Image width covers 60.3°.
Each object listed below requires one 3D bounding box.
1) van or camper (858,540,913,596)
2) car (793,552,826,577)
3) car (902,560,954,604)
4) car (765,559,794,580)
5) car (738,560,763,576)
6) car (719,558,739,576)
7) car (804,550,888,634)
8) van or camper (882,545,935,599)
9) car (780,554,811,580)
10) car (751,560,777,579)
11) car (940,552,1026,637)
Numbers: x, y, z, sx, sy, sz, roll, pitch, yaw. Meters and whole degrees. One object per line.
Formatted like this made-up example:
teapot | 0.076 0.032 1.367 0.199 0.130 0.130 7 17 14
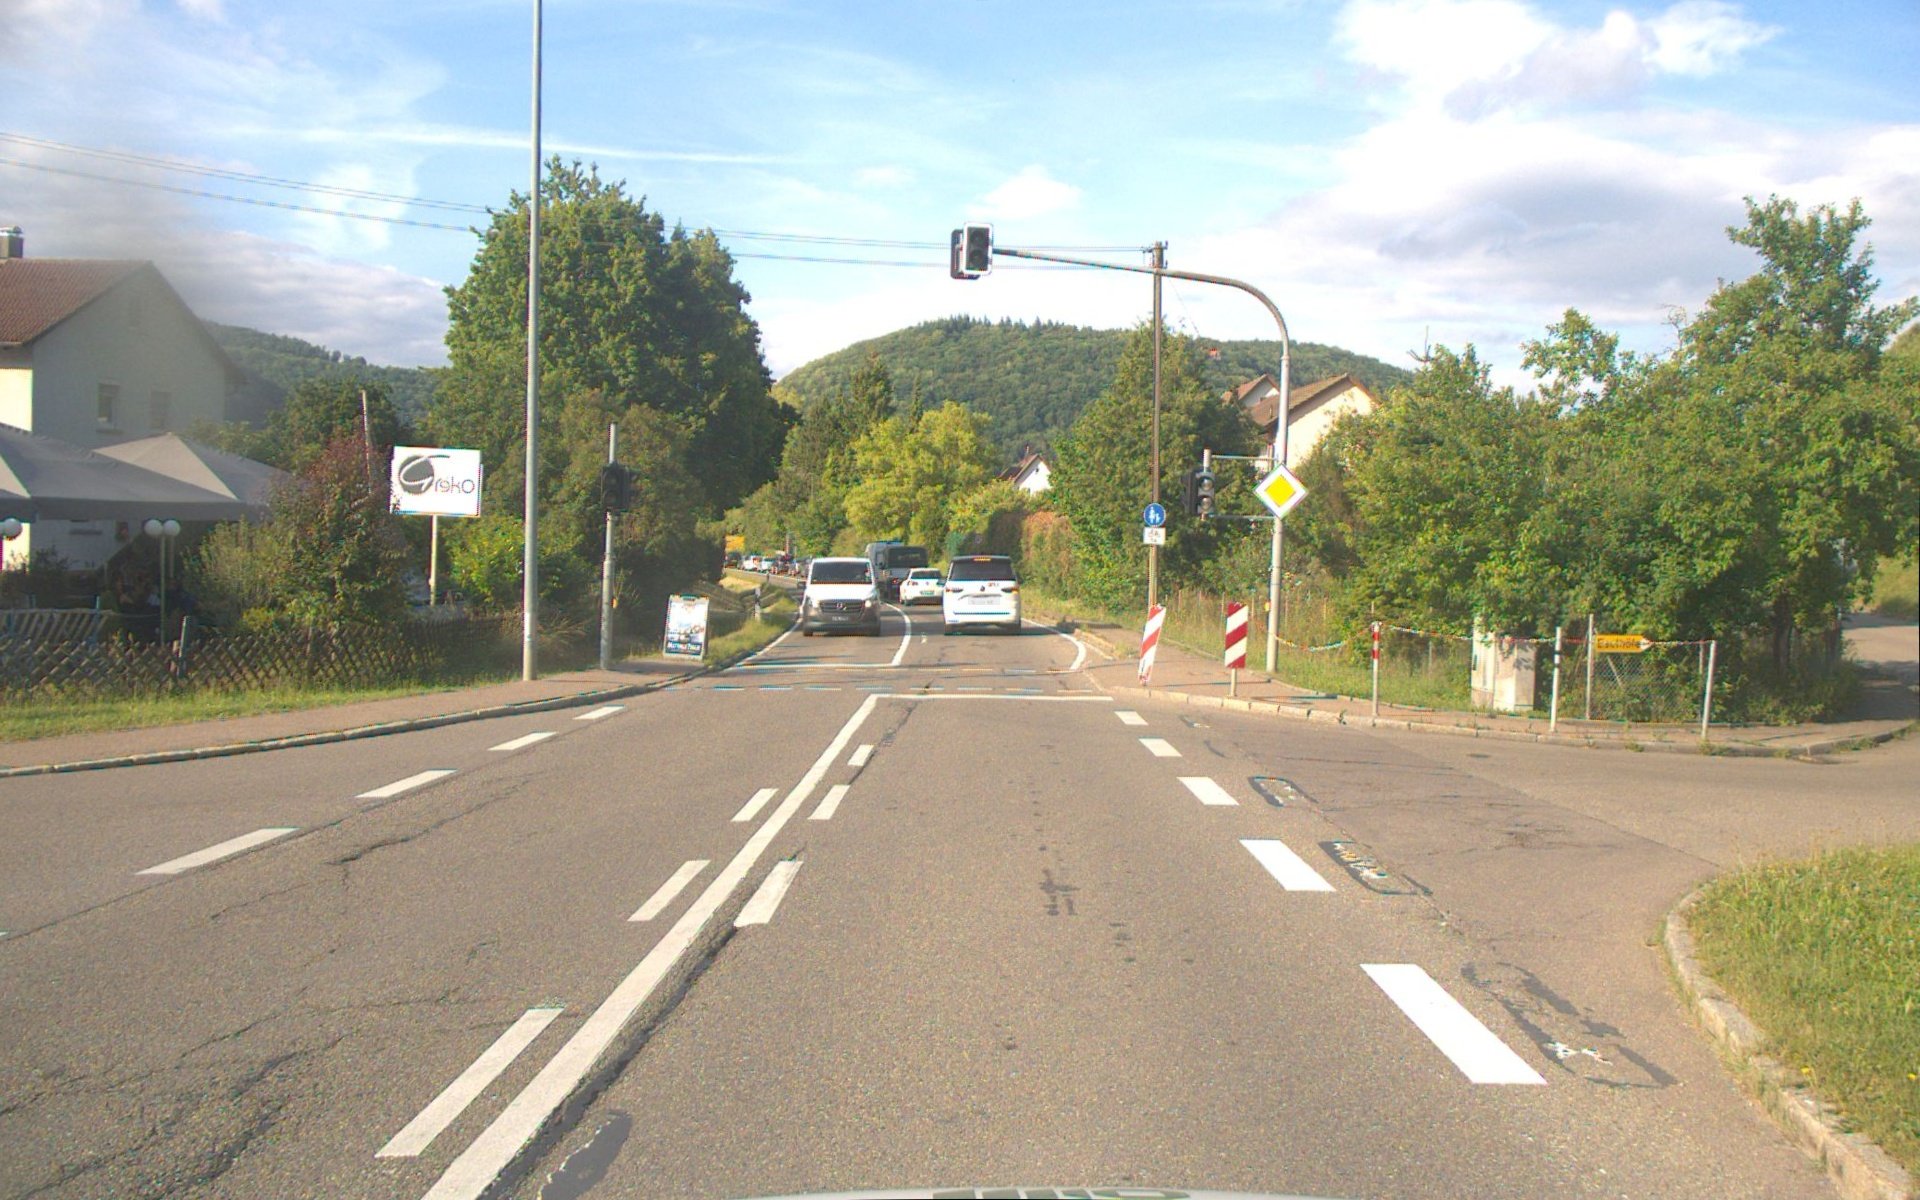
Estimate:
van or camper | -4.139 -1.777 91.322 2.370 2.955 6.119 0 1 -9
car | -11.506 -2.736 126.059 1.767 1.825 3.983 0 2 -16
car | -1.327 -0.760 67.130 1.954 1.713 3.998 0 1 -4
car | -15.469 -2.609 141.753 2.005 1.713 3.988 1 2 -13
car | -20.136 -3.093 159.204 1.910 1.449 3.985 0 1 -14
car | -24.628 -3.516 176.304 1.742 1.814 3.986 -1 1 -14
car | -2.812 -0.257 41.478 1.954 1.937 5.251 -1 1 -3
van or camper | -2.431 -1.304 76.630 2.137 2.426 5.364 0 1 -6
car | -13.226 -2.661 132.968 1.960 2.048 3.985 0 1 -14
car | -17.813 -2.774 150.198 1.909 1.713 3.985 -1 1 -14
car | 0.541 -0.209 41.557 1.953 1.909 4.871 2 2 0
